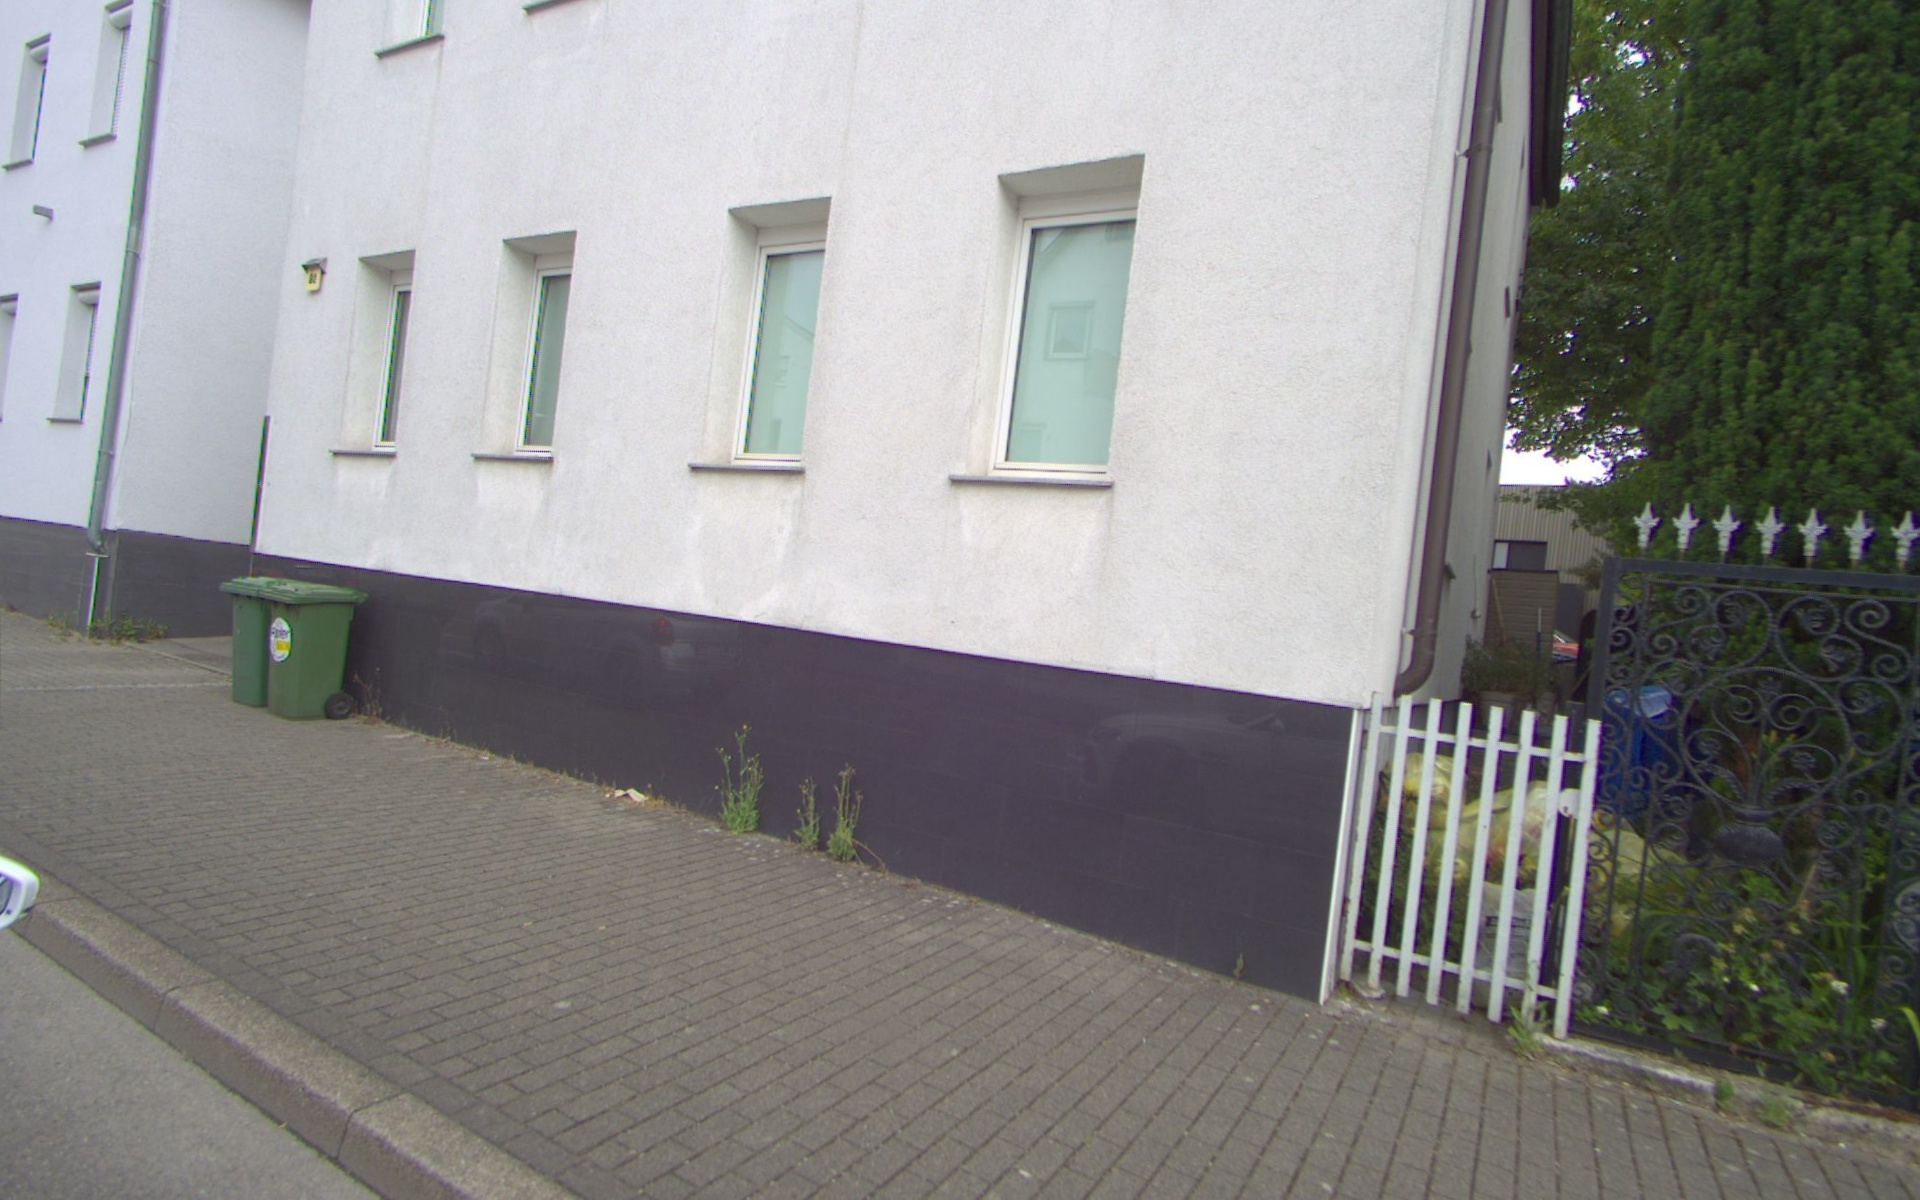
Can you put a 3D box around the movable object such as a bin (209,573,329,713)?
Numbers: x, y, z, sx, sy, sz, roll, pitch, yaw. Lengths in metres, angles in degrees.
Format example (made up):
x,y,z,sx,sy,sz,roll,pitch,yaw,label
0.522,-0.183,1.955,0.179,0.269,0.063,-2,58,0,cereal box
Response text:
x,y,z,sx,sy,sz,roll,pitch,yaw,label
-5.105,0.315,7.443,0.479,0.953,0.540,7,2,32,movable object such as a bin

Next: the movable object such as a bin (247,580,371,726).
x,y,z,sx,sy,sz,roll,pitch,yaw,label
-4.647,0.368,7.186,0.479,0.953,0.540,7,2,32,movable object such as a bin
